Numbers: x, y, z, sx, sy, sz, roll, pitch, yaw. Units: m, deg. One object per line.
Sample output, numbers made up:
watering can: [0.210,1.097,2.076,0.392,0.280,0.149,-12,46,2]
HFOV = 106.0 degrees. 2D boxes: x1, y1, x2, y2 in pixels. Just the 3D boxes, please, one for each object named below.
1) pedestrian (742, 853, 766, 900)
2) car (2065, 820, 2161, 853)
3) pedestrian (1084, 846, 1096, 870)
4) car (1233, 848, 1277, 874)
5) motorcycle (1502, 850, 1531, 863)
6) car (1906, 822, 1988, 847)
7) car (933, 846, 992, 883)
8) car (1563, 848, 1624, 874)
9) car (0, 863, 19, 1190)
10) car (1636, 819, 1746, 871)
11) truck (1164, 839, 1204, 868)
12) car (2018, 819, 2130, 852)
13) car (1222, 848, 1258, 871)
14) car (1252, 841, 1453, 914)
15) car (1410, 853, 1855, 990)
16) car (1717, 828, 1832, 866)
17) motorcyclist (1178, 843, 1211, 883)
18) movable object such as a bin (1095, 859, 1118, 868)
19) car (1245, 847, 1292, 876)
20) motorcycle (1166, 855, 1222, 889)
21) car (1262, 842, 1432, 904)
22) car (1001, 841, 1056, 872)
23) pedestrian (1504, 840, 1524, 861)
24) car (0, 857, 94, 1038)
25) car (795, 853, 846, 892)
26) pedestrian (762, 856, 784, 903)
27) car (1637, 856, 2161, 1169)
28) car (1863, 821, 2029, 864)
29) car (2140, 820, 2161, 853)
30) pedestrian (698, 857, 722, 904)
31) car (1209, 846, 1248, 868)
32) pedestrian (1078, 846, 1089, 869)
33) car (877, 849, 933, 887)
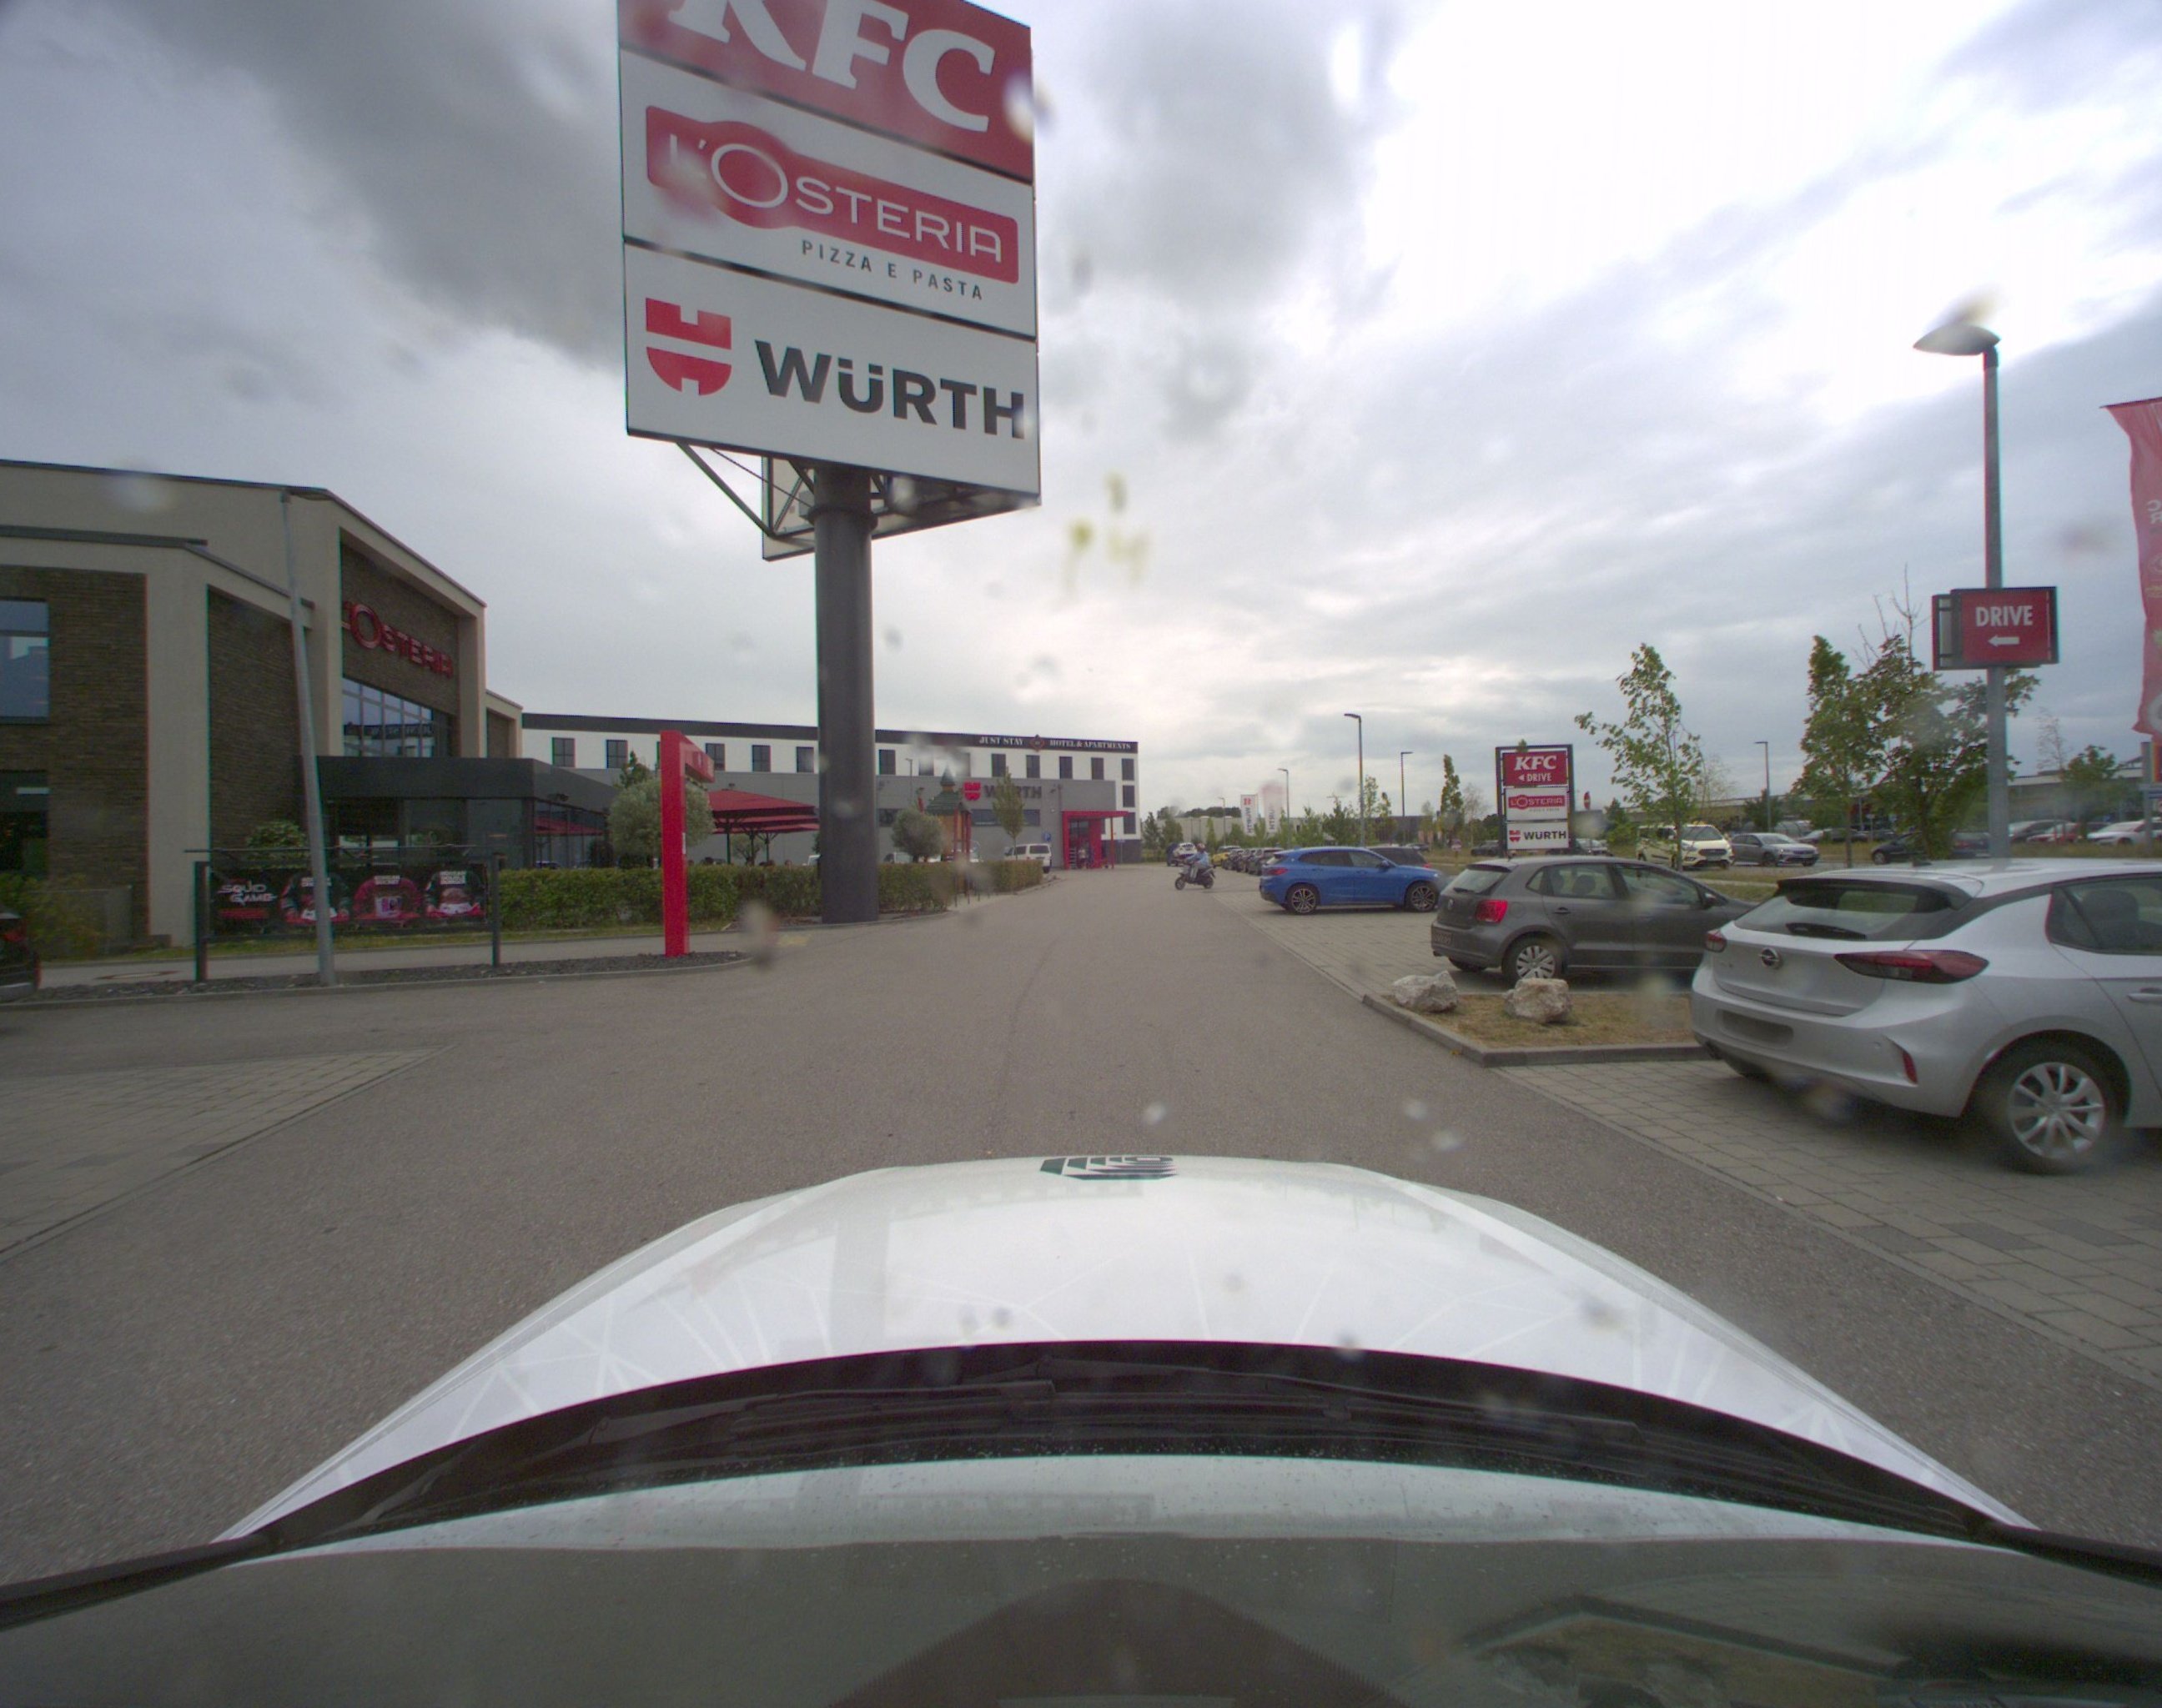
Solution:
pedestrian: [-12.667,0.855,31.592,0.743,1.748,0.699,-3,0,-19]
car: [53.550,-0.895,41.694,4.048,1.501,1.864,-3,0,-1]
pedestrian: [0.727,0.320,63.082,0.678,1.802,0.875,0,0,-19]
car: [10.510,0.393,49.442,1.745,1.469,4.476,-1,0,1]
motorcycle: [27.955,0.183,52.330,0.811,0.773,2.027,-2,-1,1]
car: [71.344,-1.602,67.200,1.997,1.837,4.166,-3,0,-14]
car: [-6.121,0.548,41.654,2.001,1.650,4.545,-3,0,-21]
car: [27.841,0.378,44.341,1.455,1.337,3.165,-2,0,3]
car: [-6.836,0.813,2.480,4.118,1.528,1.732,0,-1,-16]
car: [26.724,-0.421,35.924,1.979,2.086,5.251,-2,1,14]
truck: [9.843,-0.007,78.878,2.327,2.407,7.882,0,-3,-4]
car: [53.936,-1.013,44.282,4.034,1.539,1.905,-3,0,-5]
car: [10.860,0.361,55.939,1.745,1.469,4.108,-1,0,1]
car: [6.265,0.530,19.199,4.182,1.544,1.867,-1,0,4]
car: [6.119,0.700,9.412,3.971,1.428,1.729,0,0,2]
car: [30.075,-0.280,35.476,1.815,1.459,4.006,-3,0,6]
motorcyclist: [4.272,0.339,30.719,0.940,1.489,0.826,-2,-1,-16]
movable object such as a bin: [1.996,0.751,63.720,1.493,0.704,0.959,0,-1,-20]
car: [10.036,0.376,43.812,1.744,1.469,4.480,-1,0,3]
motorcycle: [4.274,0.678,30.721,1.919,1.208,0.790,-2,-1,-16]
car: [7.013,0.493,21.833,4.040,1.459,1.779,-2,1,6]
car: [-3.606,0.195,55.132,2.068,1.855,4.023,-5,1,-29]
pedestrian: [27.913,-0.199,52.488,0.801,1.281,0.899,-2,-1,1]
car: [-11.432,0.919,6.613,3.995,1.596,1.727,-3,0,-16]
car: [-12.613,0.886,39.228,2.001,1.650,4.545,-3,0,-21]
pedestrian: [-8.115,0.676,21.470,0.420,1.199,0.455,-3,0,-11]
car: [5.717,0.726,4.623,3.914,1.412,1.839,0,0,-1]
car: [33.642,-0.426,31.884,1.916,1.486,4.424,-3,0,3]
car: [52.985,-0.919,38.301,4.034,1.539,1.997,-3,0,-5]
pedestrian: [-9.805,0.699,21.524,0.420,1.199,0.455,-3,0,-11]
car: [11.222,0.258,62.307,1.855,1.650,3.990,0,-1,-7]
pedestrian: [0.195,0.269,61.626,0.624,1.751,0.901,-1,0,-13]
car: [-8.802,0.687,40.470,2.001,1.650,4.545,-3,0,-21]
